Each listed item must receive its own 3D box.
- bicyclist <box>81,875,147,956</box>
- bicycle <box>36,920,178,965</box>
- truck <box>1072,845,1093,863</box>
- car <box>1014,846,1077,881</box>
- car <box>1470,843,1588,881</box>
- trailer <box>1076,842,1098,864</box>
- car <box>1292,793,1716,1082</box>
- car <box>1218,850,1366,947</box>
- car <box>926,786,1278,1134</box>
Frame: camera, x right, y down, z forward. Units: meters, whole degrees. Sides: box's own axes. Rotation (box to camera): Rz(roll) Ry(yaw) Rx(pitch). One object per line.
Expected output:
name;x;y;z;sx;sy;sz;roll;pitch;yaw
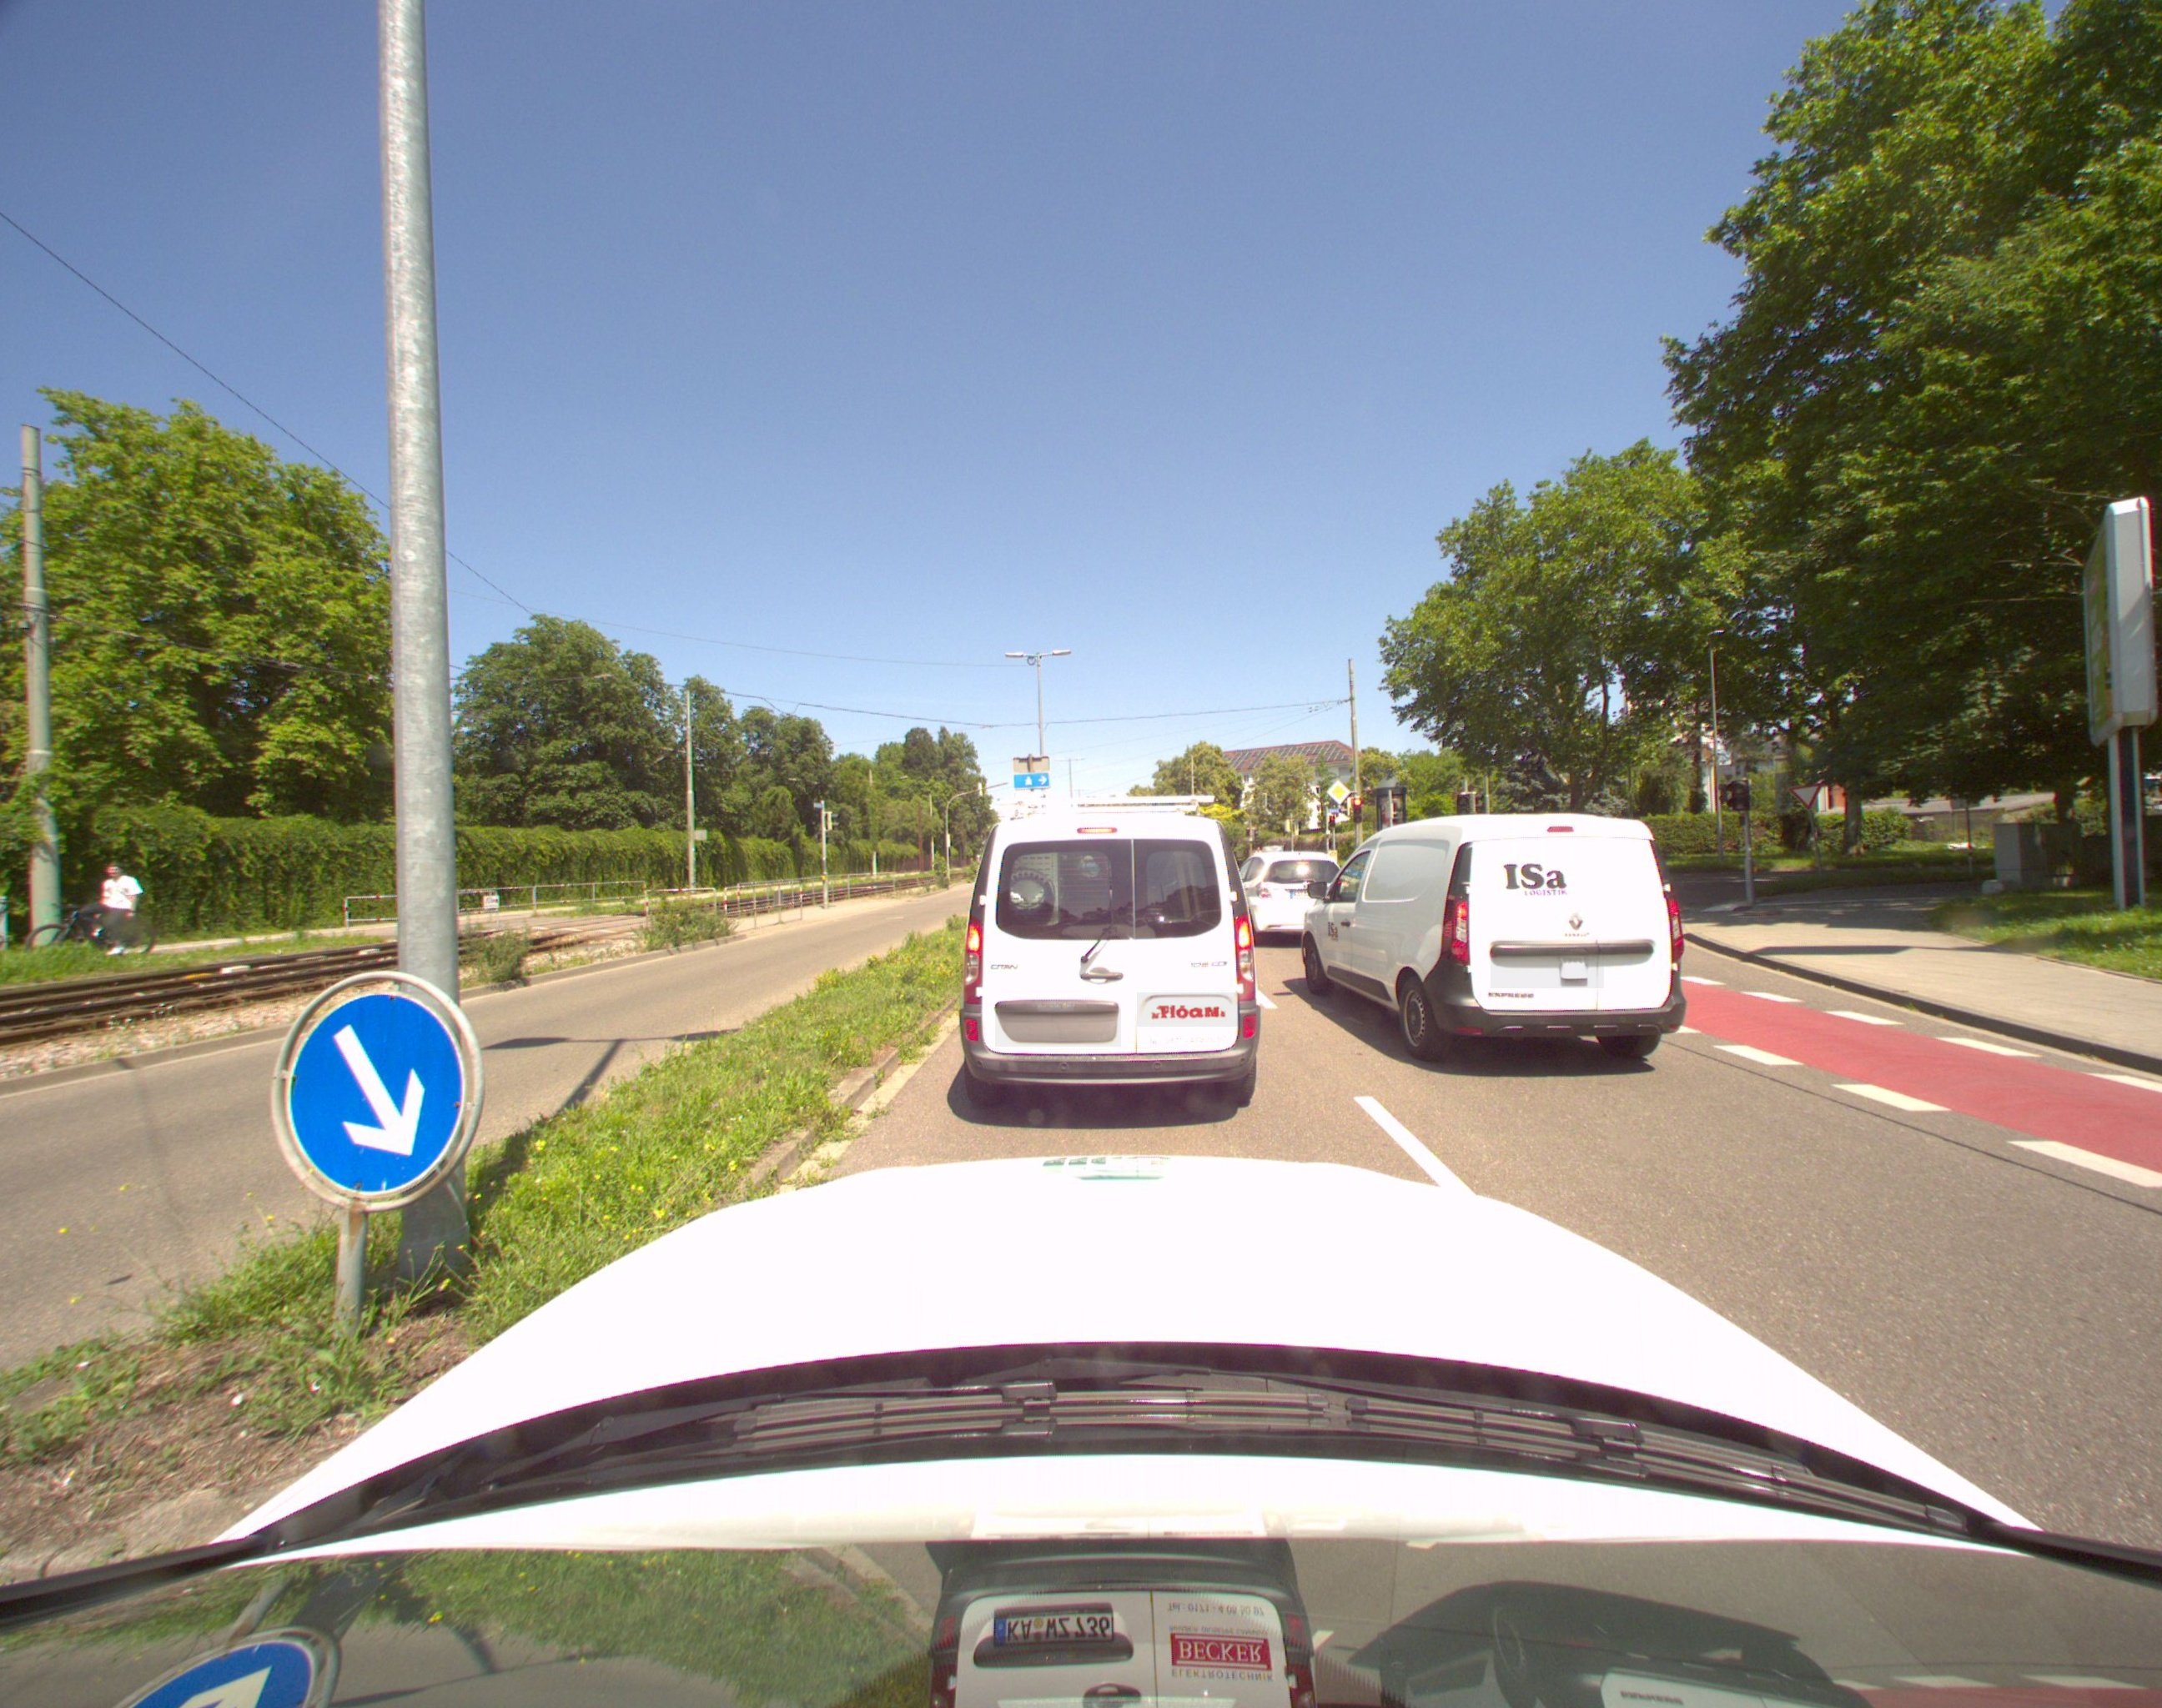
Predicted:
bicyclist;-18.419;1.155;15.516;0.555;1.478;0.562;-2;0;3
bicycle;-18.407;1.652;15.452;0.559;0.647;1.721;-2;0;3
truck;0.255;0.019;172.557;3.571;3.632;8.792;-2;0;-5
car;-2.179;0.580;48.946;2.008;2.013;3.958;-2;0;-33
car;18.034;0.334;32.958;3.842;1.311;1.704;-3;0;15
trailer;1.151;-0.196;163.632;3.523;4.050;8.958;-2;0;-6
car;3.244;0.539;7.254;1.704;1.830;4.013;-1;0;0
car;3.608;0.694;14.666;1.749;1.486;4.002;0;0;2
car;0.149;0.569;6.275;1.860;1.836;3.849;-1;0;1
